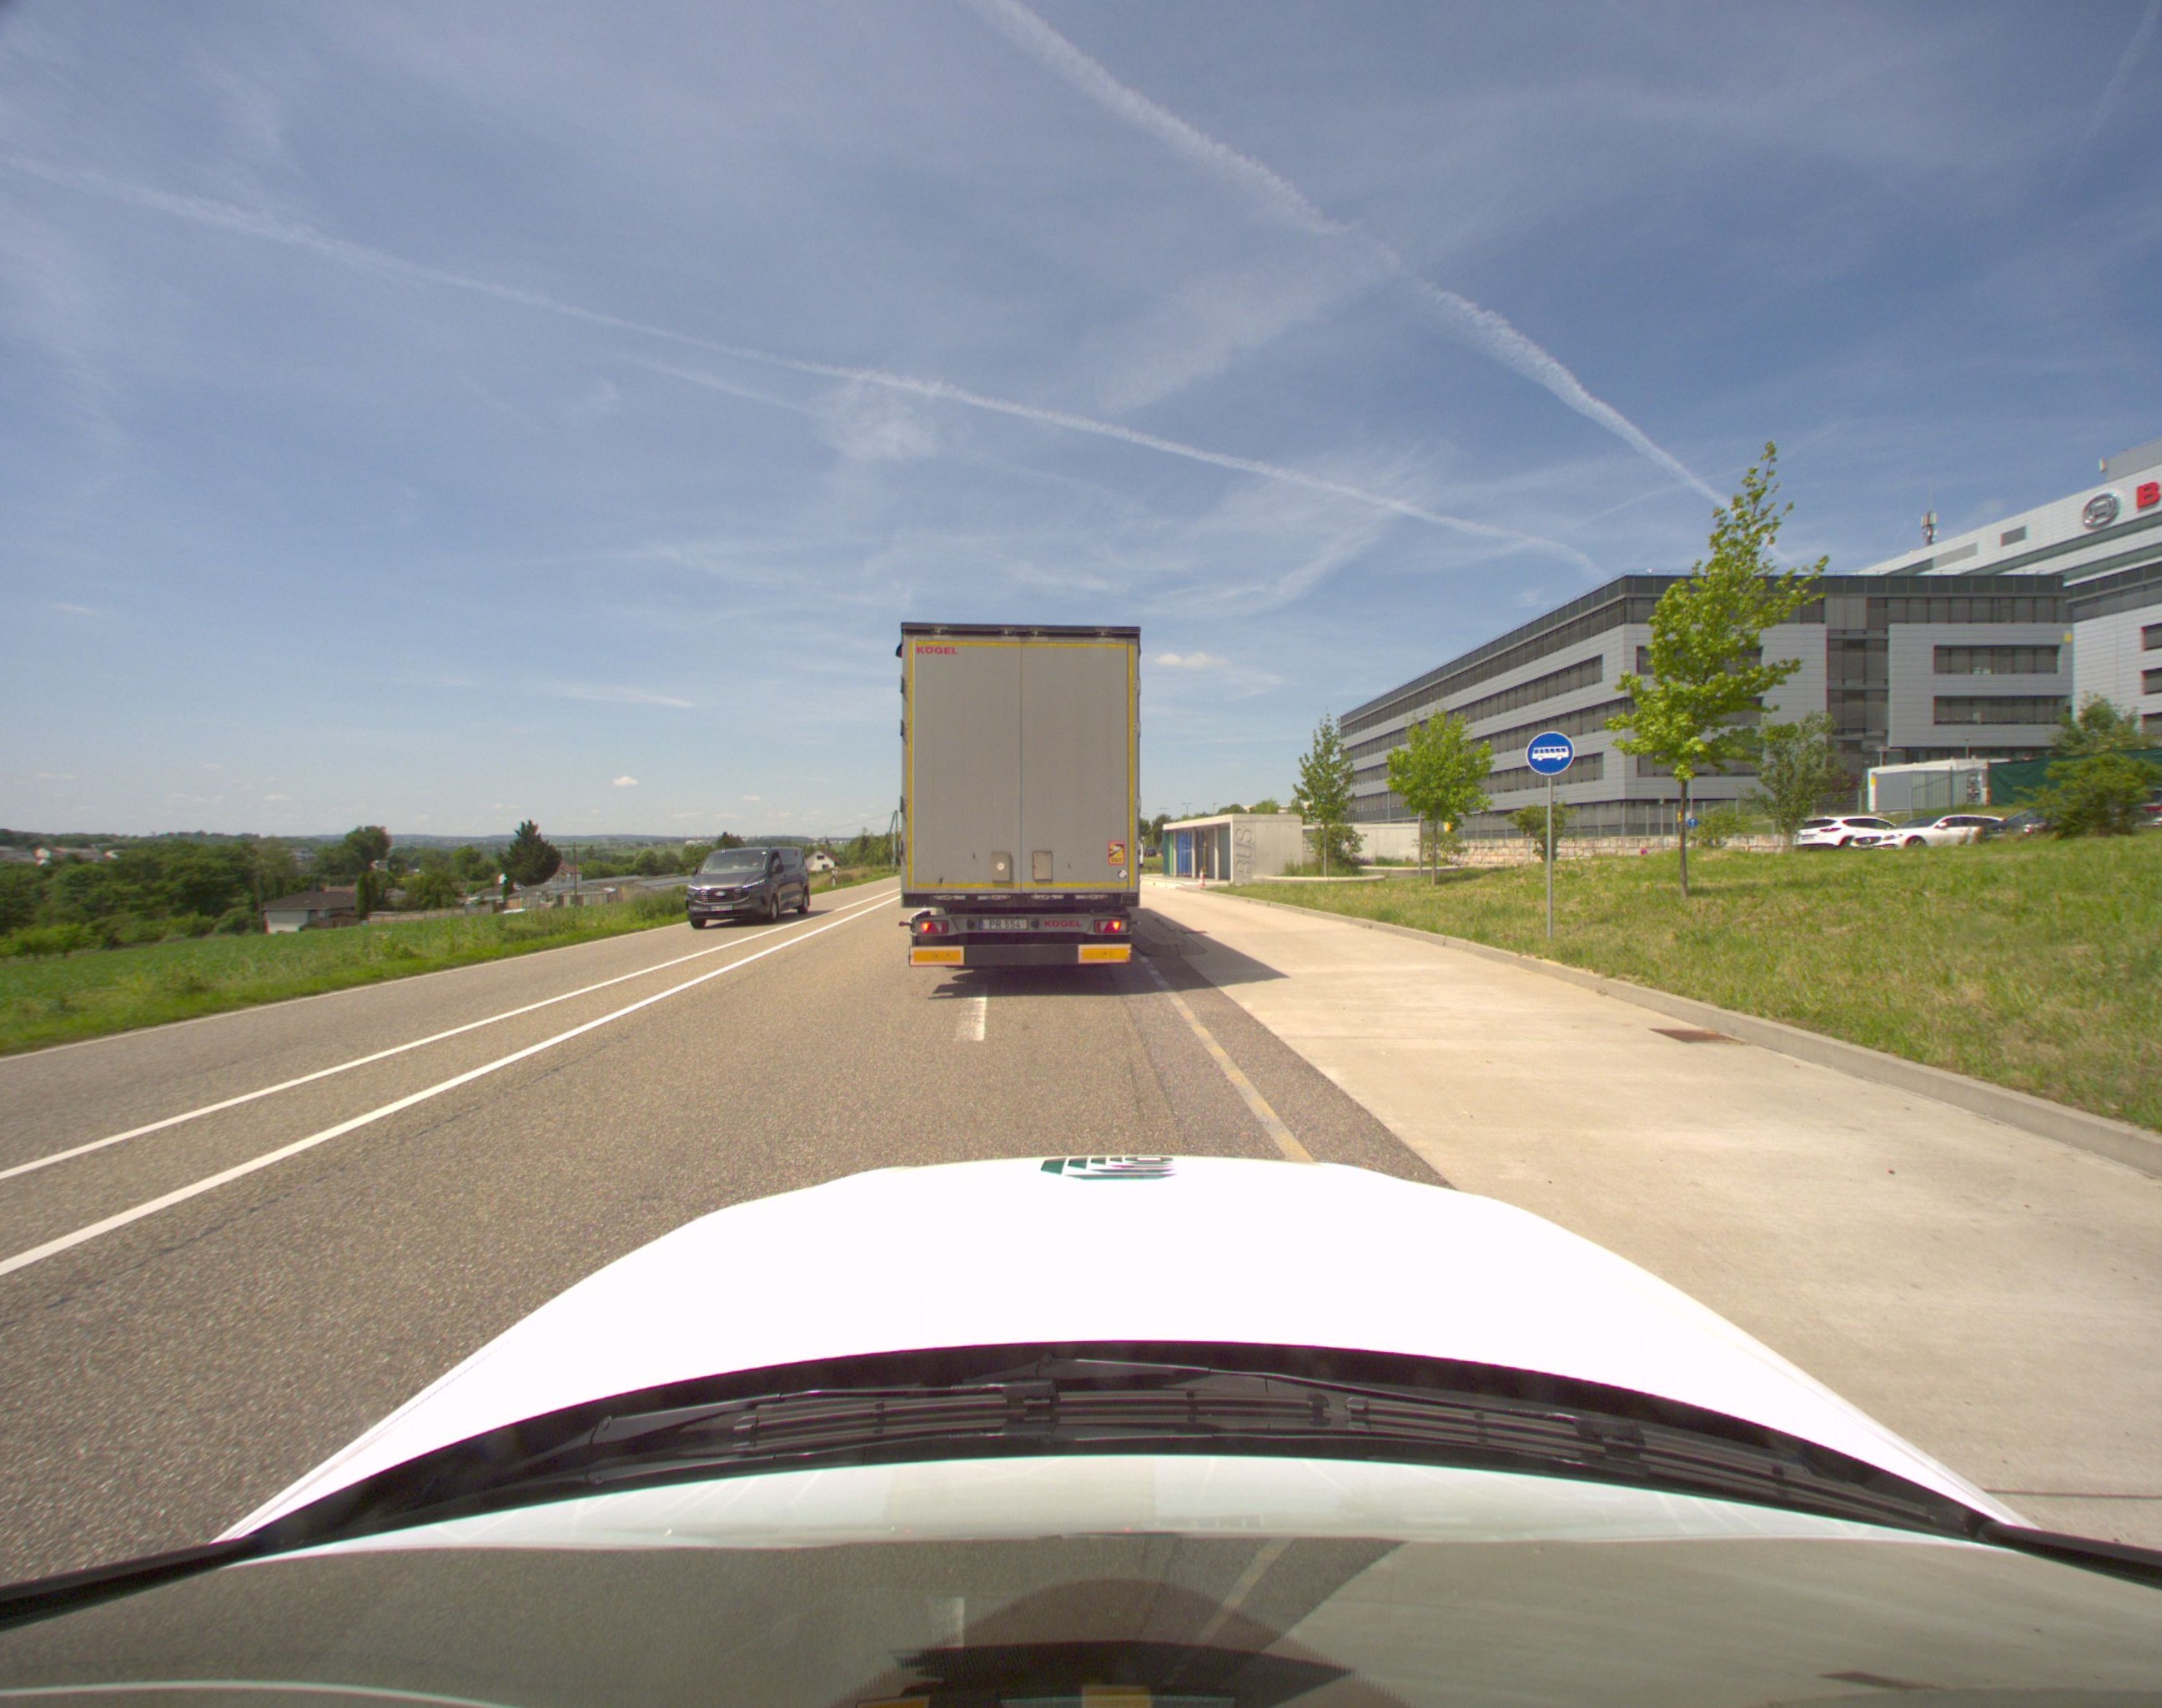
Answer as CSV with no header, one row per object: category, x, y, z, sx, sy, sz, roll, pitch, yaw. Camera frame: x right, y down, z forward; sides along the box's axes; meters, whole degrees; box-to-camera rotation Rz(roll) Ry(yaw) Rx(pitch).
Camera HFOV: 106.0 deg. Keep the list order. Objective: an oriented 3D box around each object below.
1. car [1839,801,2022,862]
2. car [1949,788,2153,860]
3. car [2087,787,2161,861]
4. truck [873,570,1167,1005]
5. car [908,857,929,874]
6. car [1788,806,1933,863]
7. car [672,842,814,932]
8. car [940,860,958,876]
car,30.216,-0.763,29.066,4.540,1.766,1.976,-4,-1,-4
car,29.674,-0.891,25.006,3.979,1.814,1.975,-4,-1,-4
car,30.433,-0.922,22.189,3.979,1.921,1.754,-4,-1,-4
truck,-0.834,-0.706,12.765,2.900,4.410,8.850,-1,0,-3
car,-18.705,1.355,93.837,1.992,1.787,3.990,-3,0,-7
car,30.236,-0.733,31.642,3.979,1.814,1.754,-4,-1,-4
car,-8.767,0.773,21.687,1.991,1.978,5.267,-3,0,-6
car,-15.845,1.661,97.951,1.992,1.815,4.284,-3,0,-8
